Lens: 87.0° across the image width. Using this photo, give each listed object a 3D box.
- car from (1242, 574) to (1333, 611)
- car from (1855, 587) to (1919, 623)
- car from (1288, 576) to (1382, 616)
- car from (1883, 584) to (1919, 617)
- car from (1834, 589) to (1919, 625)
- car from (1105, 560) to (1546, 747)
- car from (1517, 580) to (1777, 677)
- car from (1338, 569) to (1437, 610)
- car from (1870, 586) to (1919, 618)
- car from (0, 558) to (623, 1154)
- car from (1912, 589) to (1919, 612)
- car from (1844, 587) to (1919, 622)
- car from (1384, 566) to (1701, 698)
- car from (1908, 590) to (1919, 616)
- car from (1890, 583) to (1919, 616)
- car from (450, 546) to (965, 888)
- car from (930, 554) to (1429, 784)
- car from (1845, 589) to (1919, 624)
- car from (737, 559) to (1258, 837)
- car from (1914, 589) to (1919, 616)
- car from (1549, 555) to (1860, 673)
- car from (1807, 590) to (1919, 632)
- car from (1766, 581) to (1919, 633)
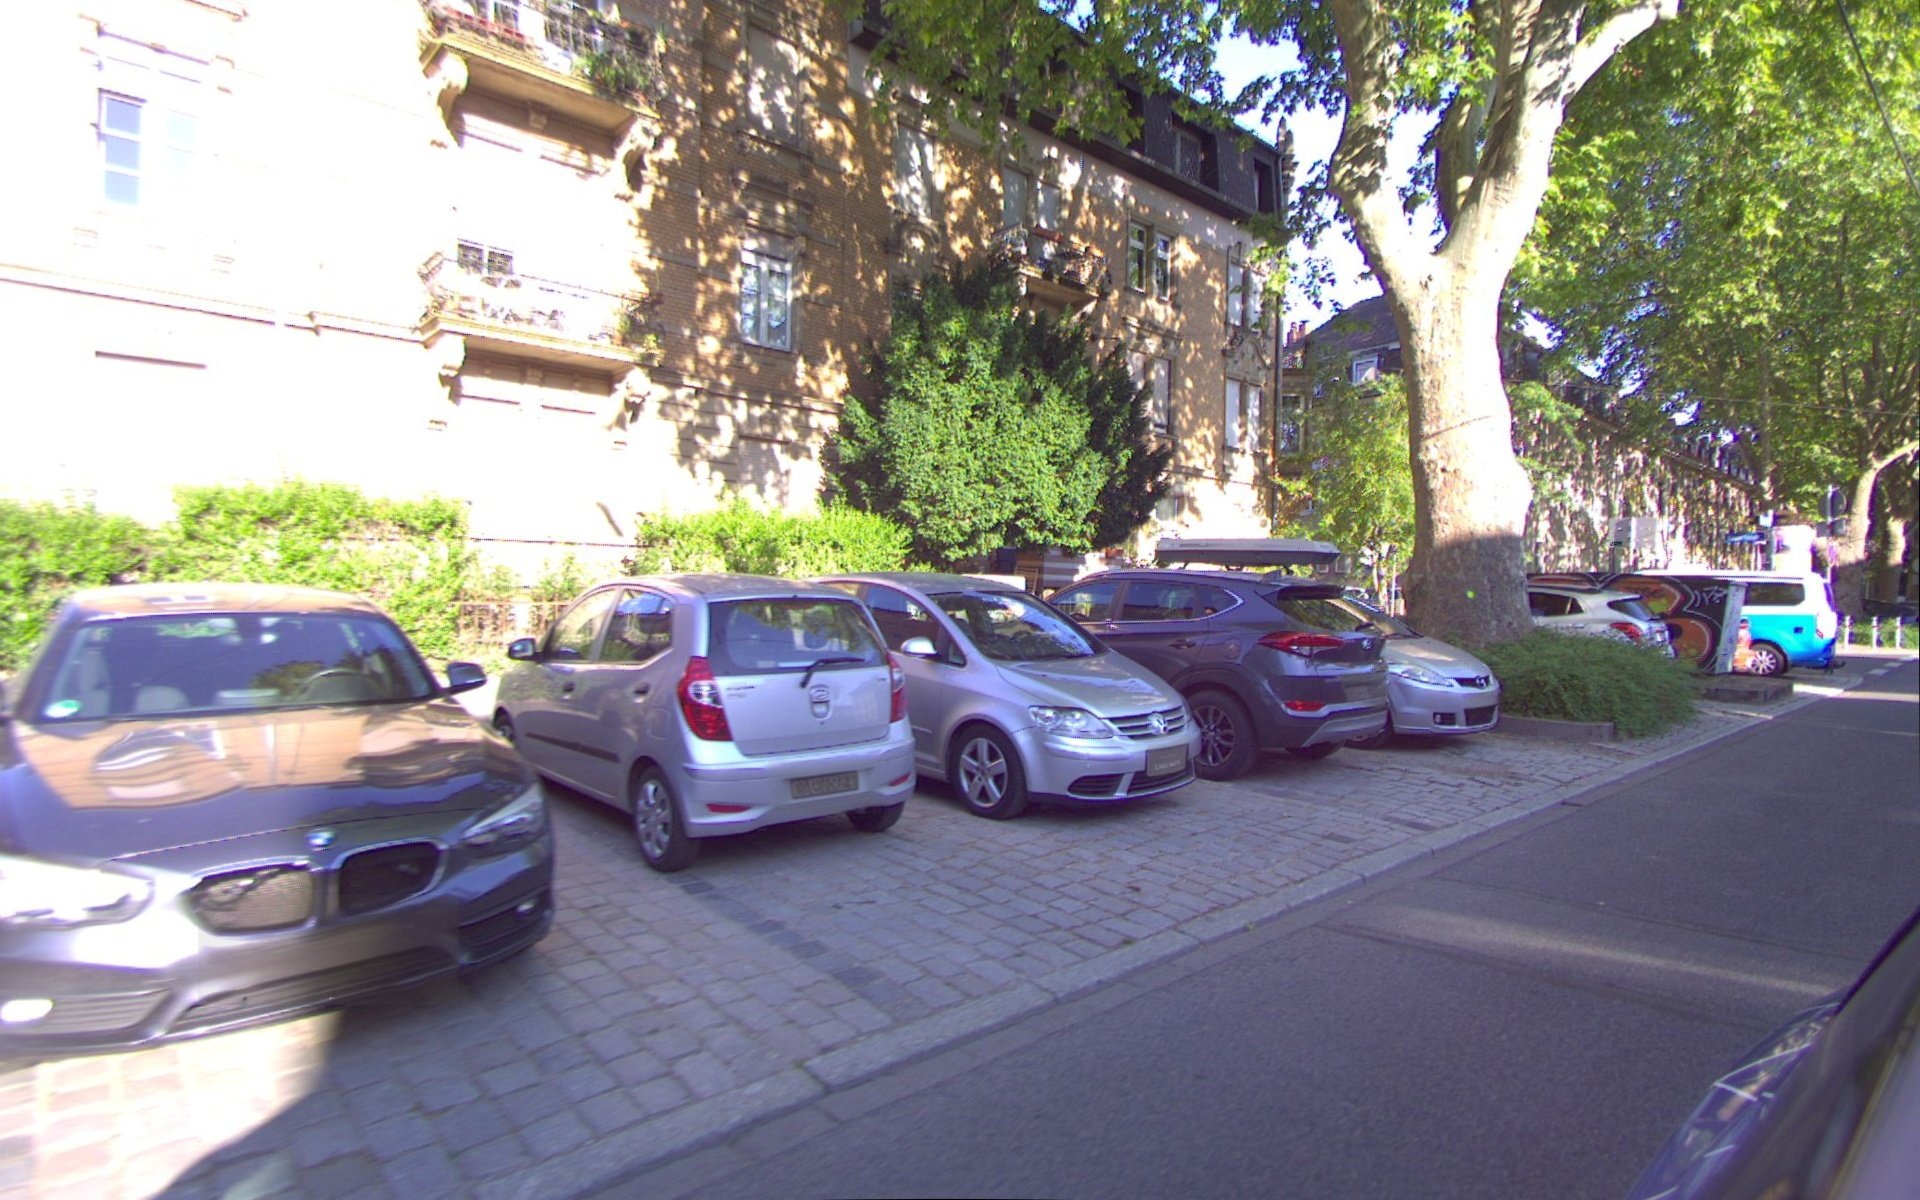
[{"bbox_3d":[14.689,-0.340,45.346,3.921,1.602,1.732,0,2,-32],"label":"car"},{"bbox_3d":[47.204,0.293,49.654,1.858,1.661,4.613,1,2,-38],"label":"car"},{"bbox_3d":[16.068,-0.185,43.348,3.921,1.602,1.732,0,2,-32],"label":"car"},{"bbox_3d":[56.609,0.102,58.464,1.858,1.814,4.613,1,2,-38],"label":"car"},{"bbox_3d":[42.466,0.346,45.422,1.858,1.513,4.613,1,2,-38],"label":"car"},{"bbox_3d":[3.759,0.402,11.067,1.785,1.639,4.210,0,2,-39],"label":"car"},{"bbox_3d":[13.066,0.460,19.402,1.760,1.506,3.787,0,3,-43],"label":"car"},{"bbox_3d":[17.414,-0.418,41.189,3.921,1.602,1.732,0,2,-32],"label":"car"},{"bbox_3d":[51.906,0.151,54.080,1.858,1.661,4.613,1,2,-38],"label":"car"},{"bbox_3d":[-3.236,0.565,4.519,1.786,1.465,4.207,0,2,-41],"label":"car"},{"bbox_3d":[72.157,0.138,73.136,1.858,1.736,4.613,1,2,-38],"label":"car"},{"bbox_3d":[45.638,0.246,48.551,1.858,1.585,4.613,1,2,-38],"label":"car"},{"bbox_3d":[8.738,0.375,15.398,1.760,1.638,3.787,0,3,-43],"label":"car"},{"bbox_3d":[65.241,0.307,66.117,1.858,1.661,4.613,1,2,-38],"label":"car"},{"bbox_3d":[60.979,0.053,62.757,1.858,2.038,4.638,1,2,-38],"label":"car"},{"bbox_3d":[-1.990,0.472,6.865,1.785,1.575,4.210,0,2,-39],"label":"car"},{"bbox_3d":[1.819,0.423,9.377,1.848,1.639,4.204,0,2,-44],"label":"car"},{"bbox_3d":[44.042,0.346,46.646,1.858,1.513,4.613,1,2,-38],"label":"car"},{"bbox_3d":[0.015,0.495,7.993,1.785,1.593,4.210,0,2,-39],"label":"car"},{"bbox_3d":[67.169,0.269,67.734,1.858,1.814,4.613,1,2,-38],"label":"car"},{"bbox_3d":[15.273,0.168,20.971,2.158,2.038,4.851,0,3,-44],"label":"car"},{"bbox_3d":[37.771,0.452,41.309,1.858,1.513,4.613,1,2,-38],"label":"car"},{"bbox_3d":[32.416,0.228,36.634,1.860,1.651,4.808,1,2,-41],"label":"car"}]
